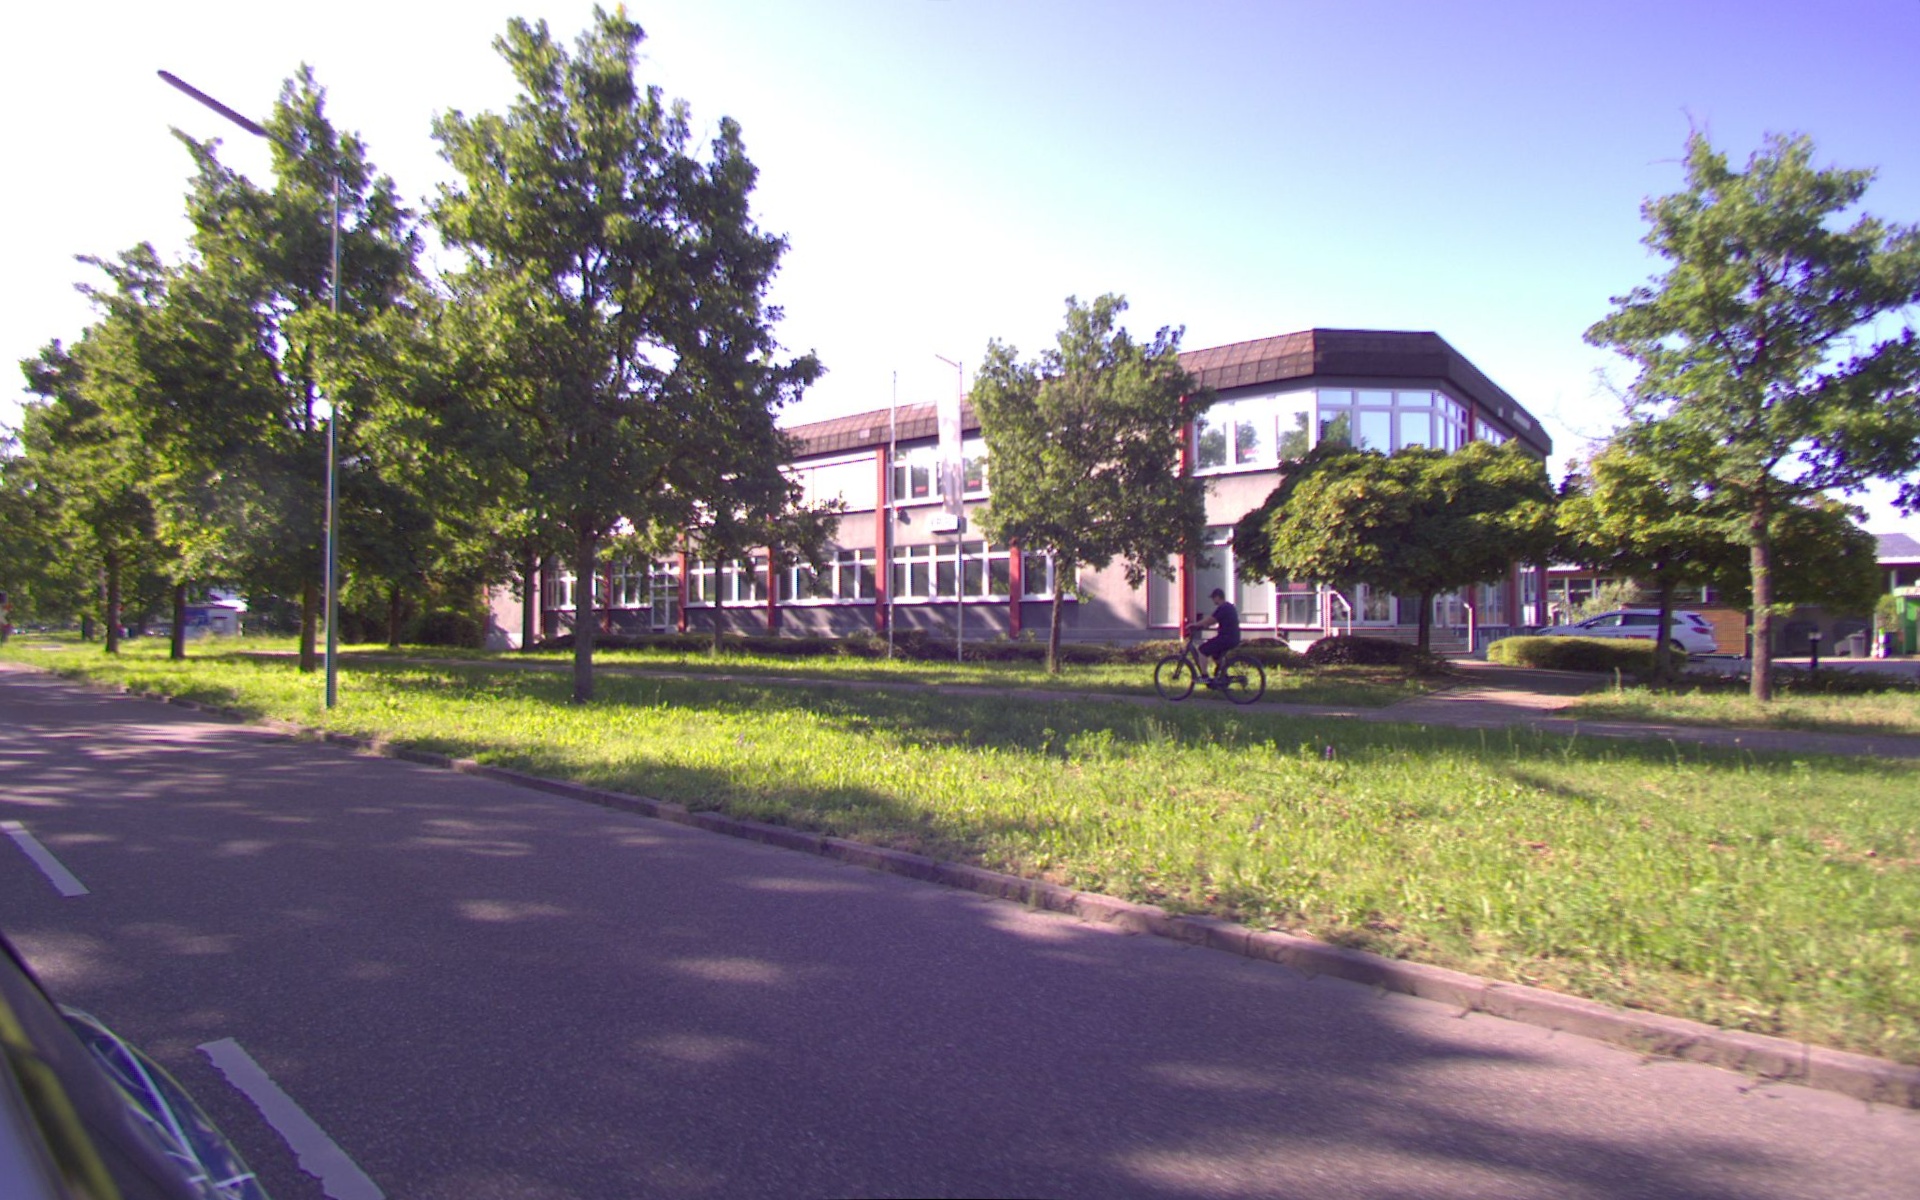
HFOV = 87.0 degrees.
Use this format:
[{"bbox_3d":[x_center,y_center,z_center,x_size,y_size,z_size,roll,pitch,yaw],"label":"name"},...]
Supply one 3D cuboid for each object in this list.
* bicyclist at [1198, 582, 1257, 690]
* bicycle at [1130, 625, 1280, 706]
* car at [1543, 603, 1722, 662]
[{"bbox_3d":[4.185,0.544,15.853,0.658,1.641,0.657,-1,0,41],"label":"bicyclist"},{"bbox_3d":[3.851,1.005,16.101,2.333,1.170,0.545,-1,0,41],"label":"bicycle"},{"bbox_3d":[19.886,0.902,30.005,4.293,1.505,1.974,1,1,38],"label":"car"}]
